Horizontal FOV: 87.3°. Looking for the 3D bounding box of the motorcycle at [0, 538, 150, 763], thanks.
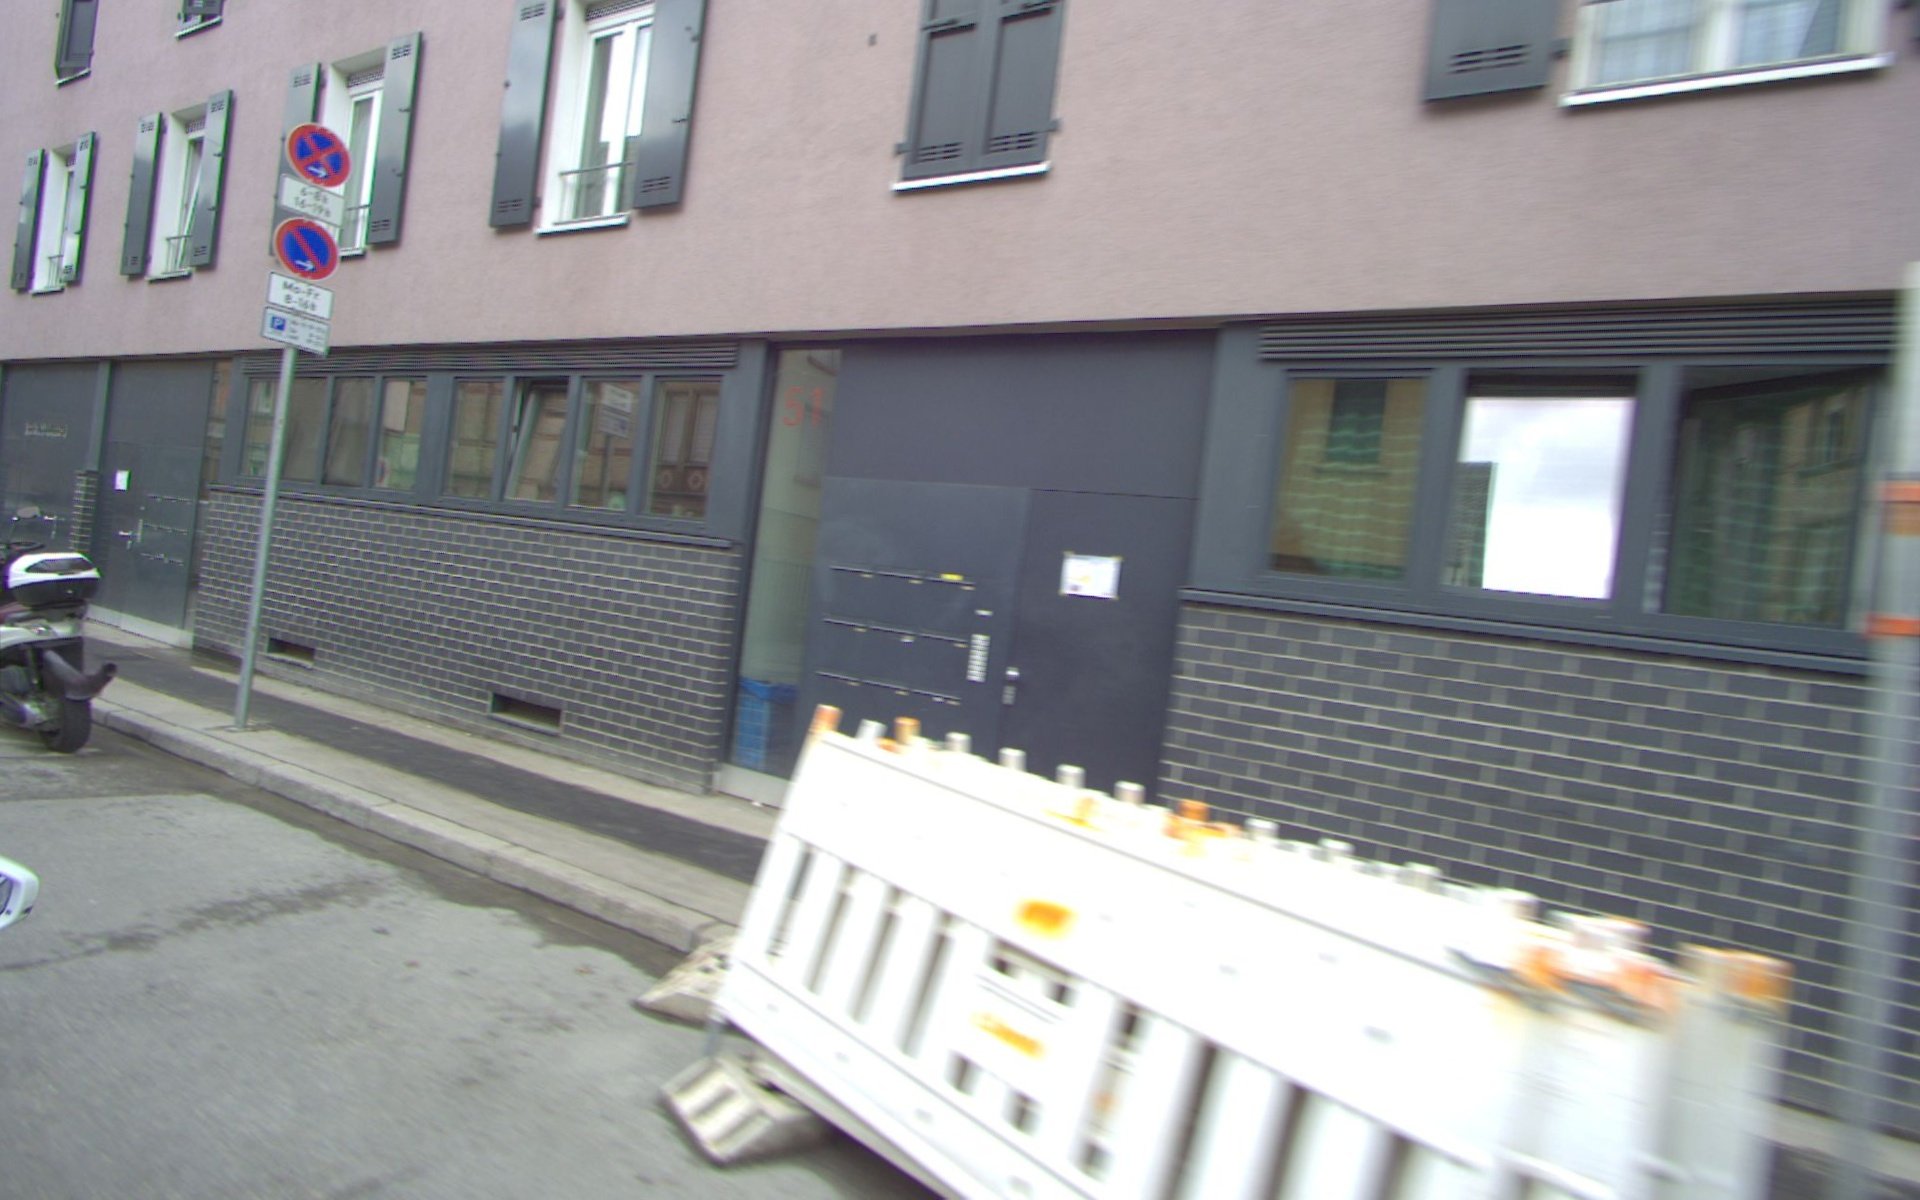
[{"bbox_3d":[-6.317,0.241,6.630,2.298,1.240,0.648,6,-1,31],"label":"motorcycle"}]
